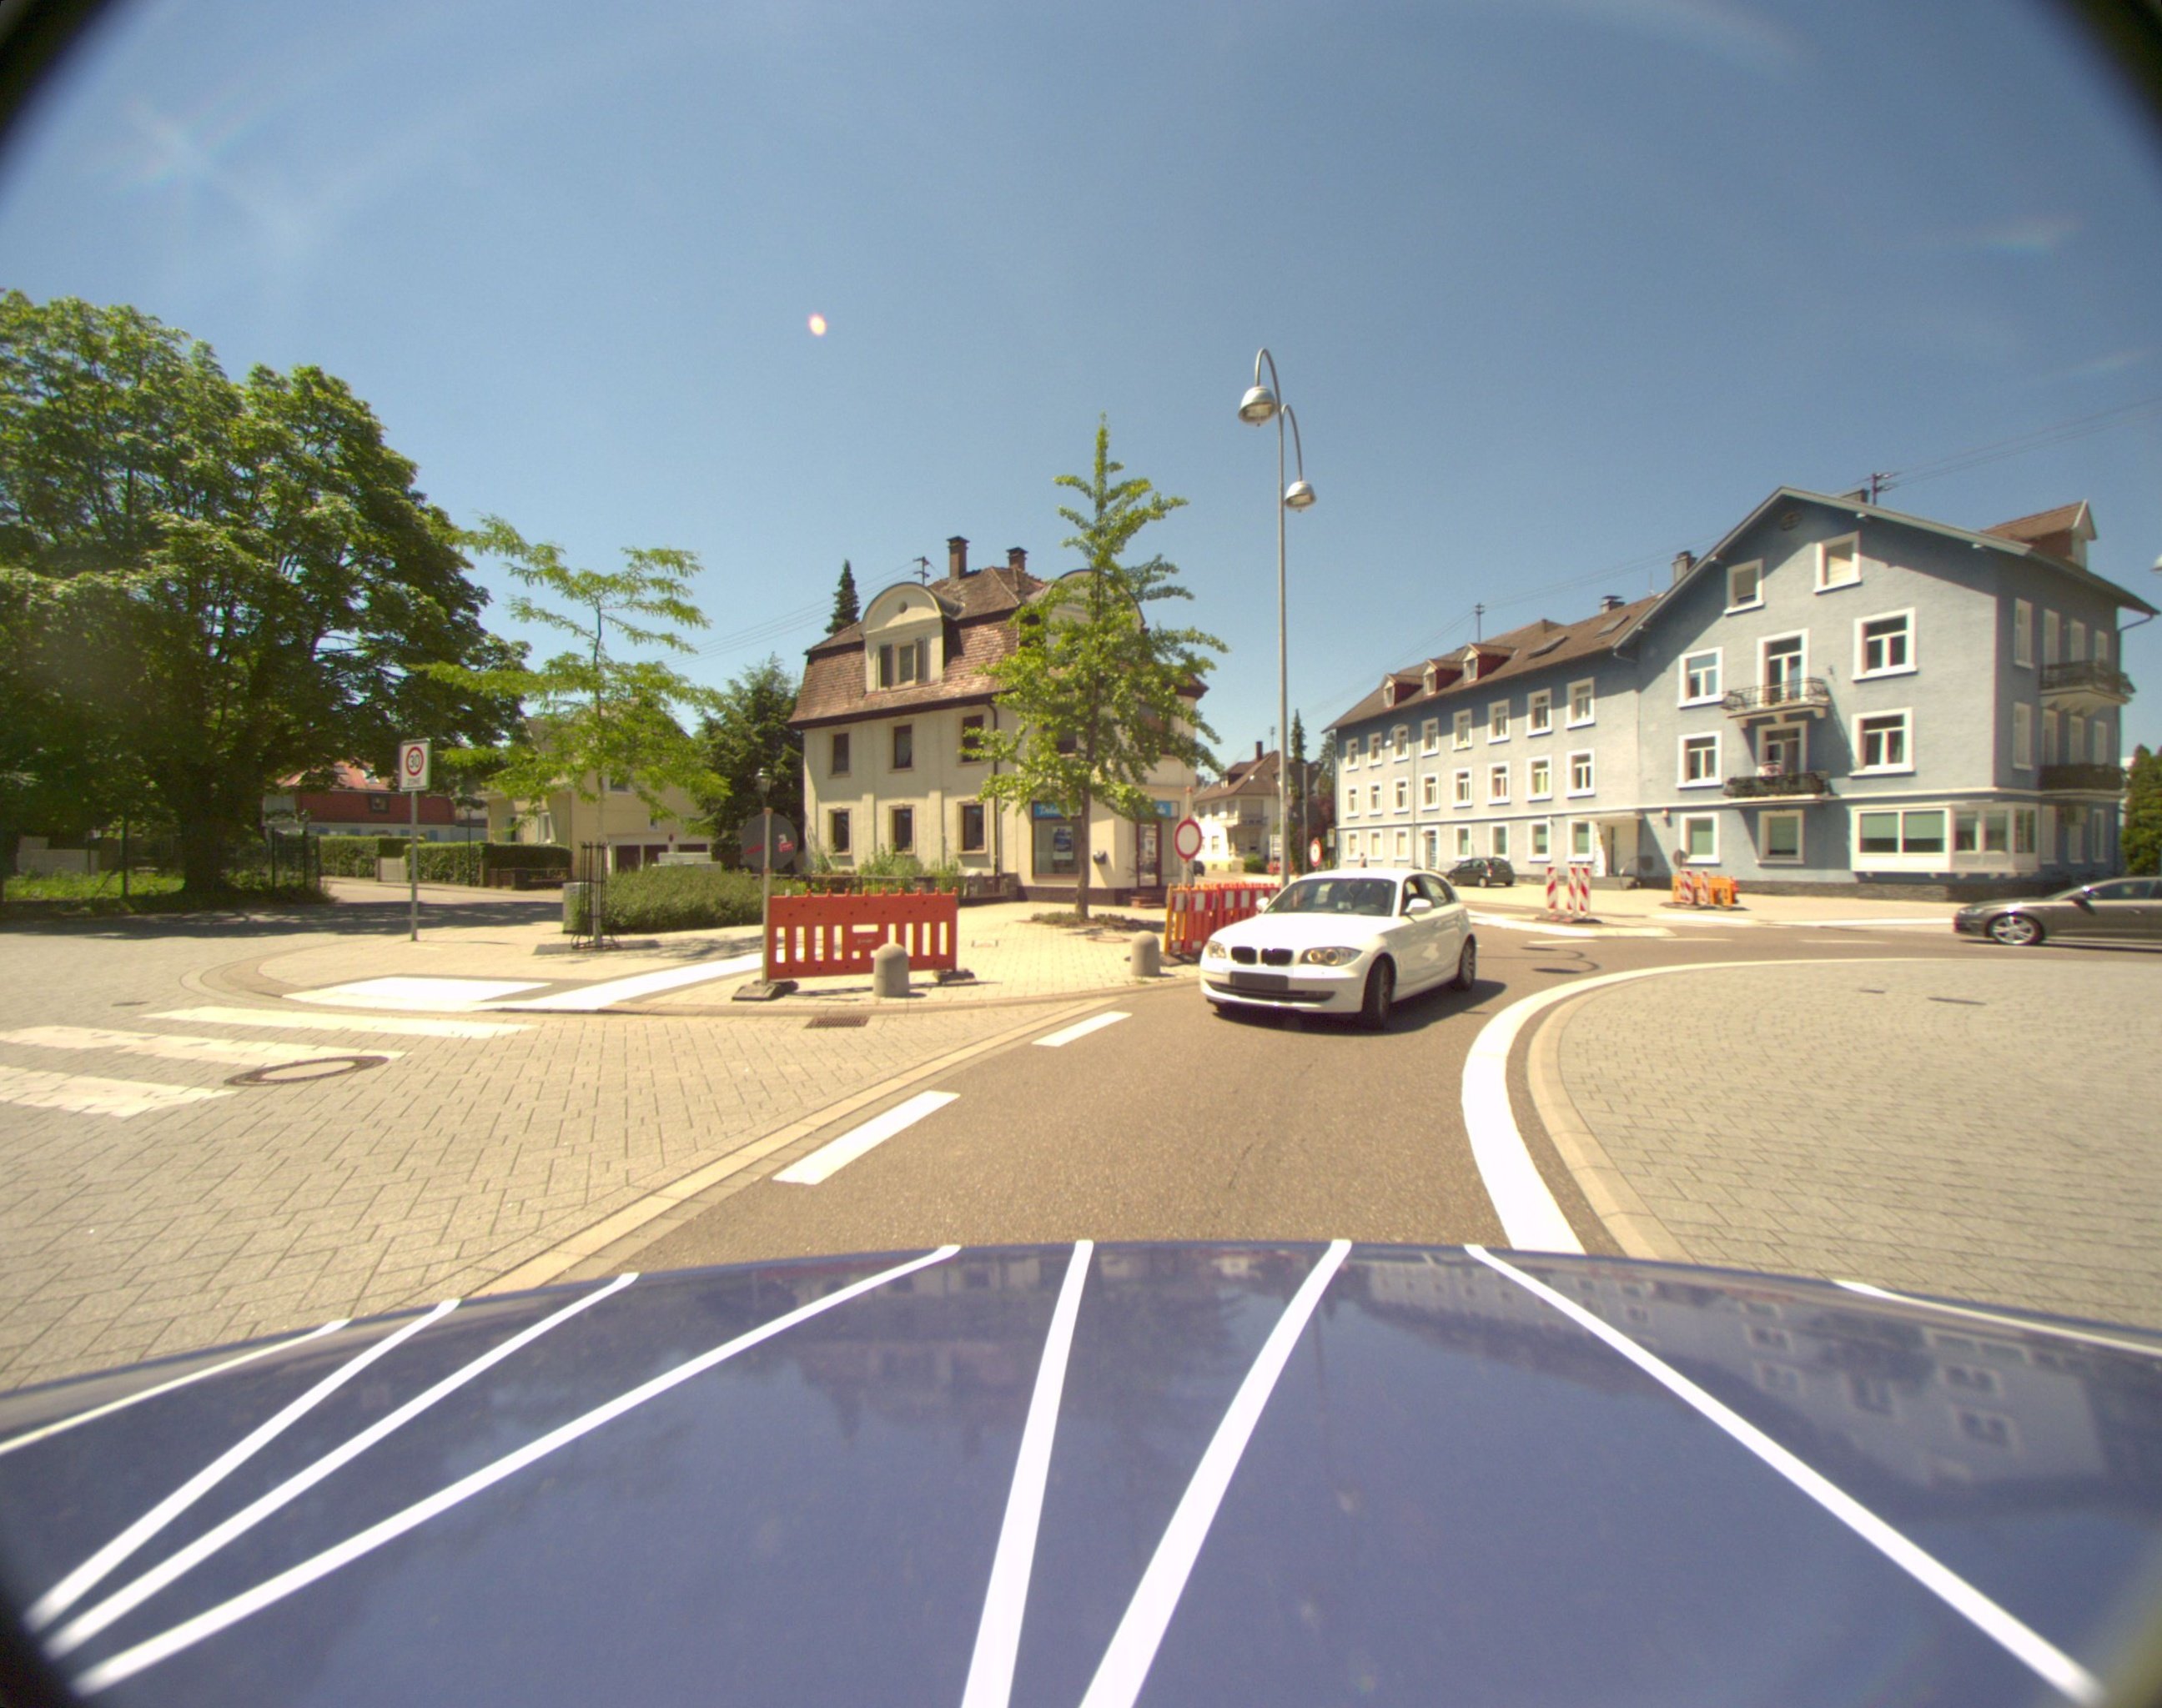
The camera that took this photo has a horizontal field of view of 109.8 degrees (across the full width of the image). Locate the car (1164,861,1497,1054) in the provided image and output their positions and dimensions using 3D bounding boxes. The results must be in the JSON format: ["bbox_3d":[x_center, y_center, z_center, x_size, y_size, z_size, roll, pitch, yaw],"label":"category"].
[{"bbox_3d":[2.875,0.878,8.180,1.782,1.541,4.138,-2,-2,43],"label":"car"}]

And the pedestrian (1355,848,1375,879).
[{"bbox_3d":[17.579,0.596,47.073,0.758,1.838,0.771,-4,1,-12],"label":"pedestrian"}]

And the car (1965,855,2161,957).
[{"bbox_3d":[19.654,0.920,13.962,1.784,1.767,4.232,-1,0,-33],"label":"car"}]

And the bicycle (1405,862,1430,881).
[{"bbox_3d":[19.326,0.976,43.621,0.497,0.972,1.972,-4,2,0],"label":"bicycle"}]

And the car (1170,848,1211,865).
[{"bbox_3d":[12.918,0.260,89.457,4.369,1.866,1.847,1,0,-18],"label":"car"}]

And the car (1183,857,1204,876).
[{"bbox_3d":[10.106,1.088,68.241,1.662,1.444,4.026,2,1,10],"label":"car"}]

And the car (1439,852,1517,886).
[{"bbox_3d":[20.537,0.735,39.487,1.583,1.526,3.770,-1,2,-11],"label":"car"}]
